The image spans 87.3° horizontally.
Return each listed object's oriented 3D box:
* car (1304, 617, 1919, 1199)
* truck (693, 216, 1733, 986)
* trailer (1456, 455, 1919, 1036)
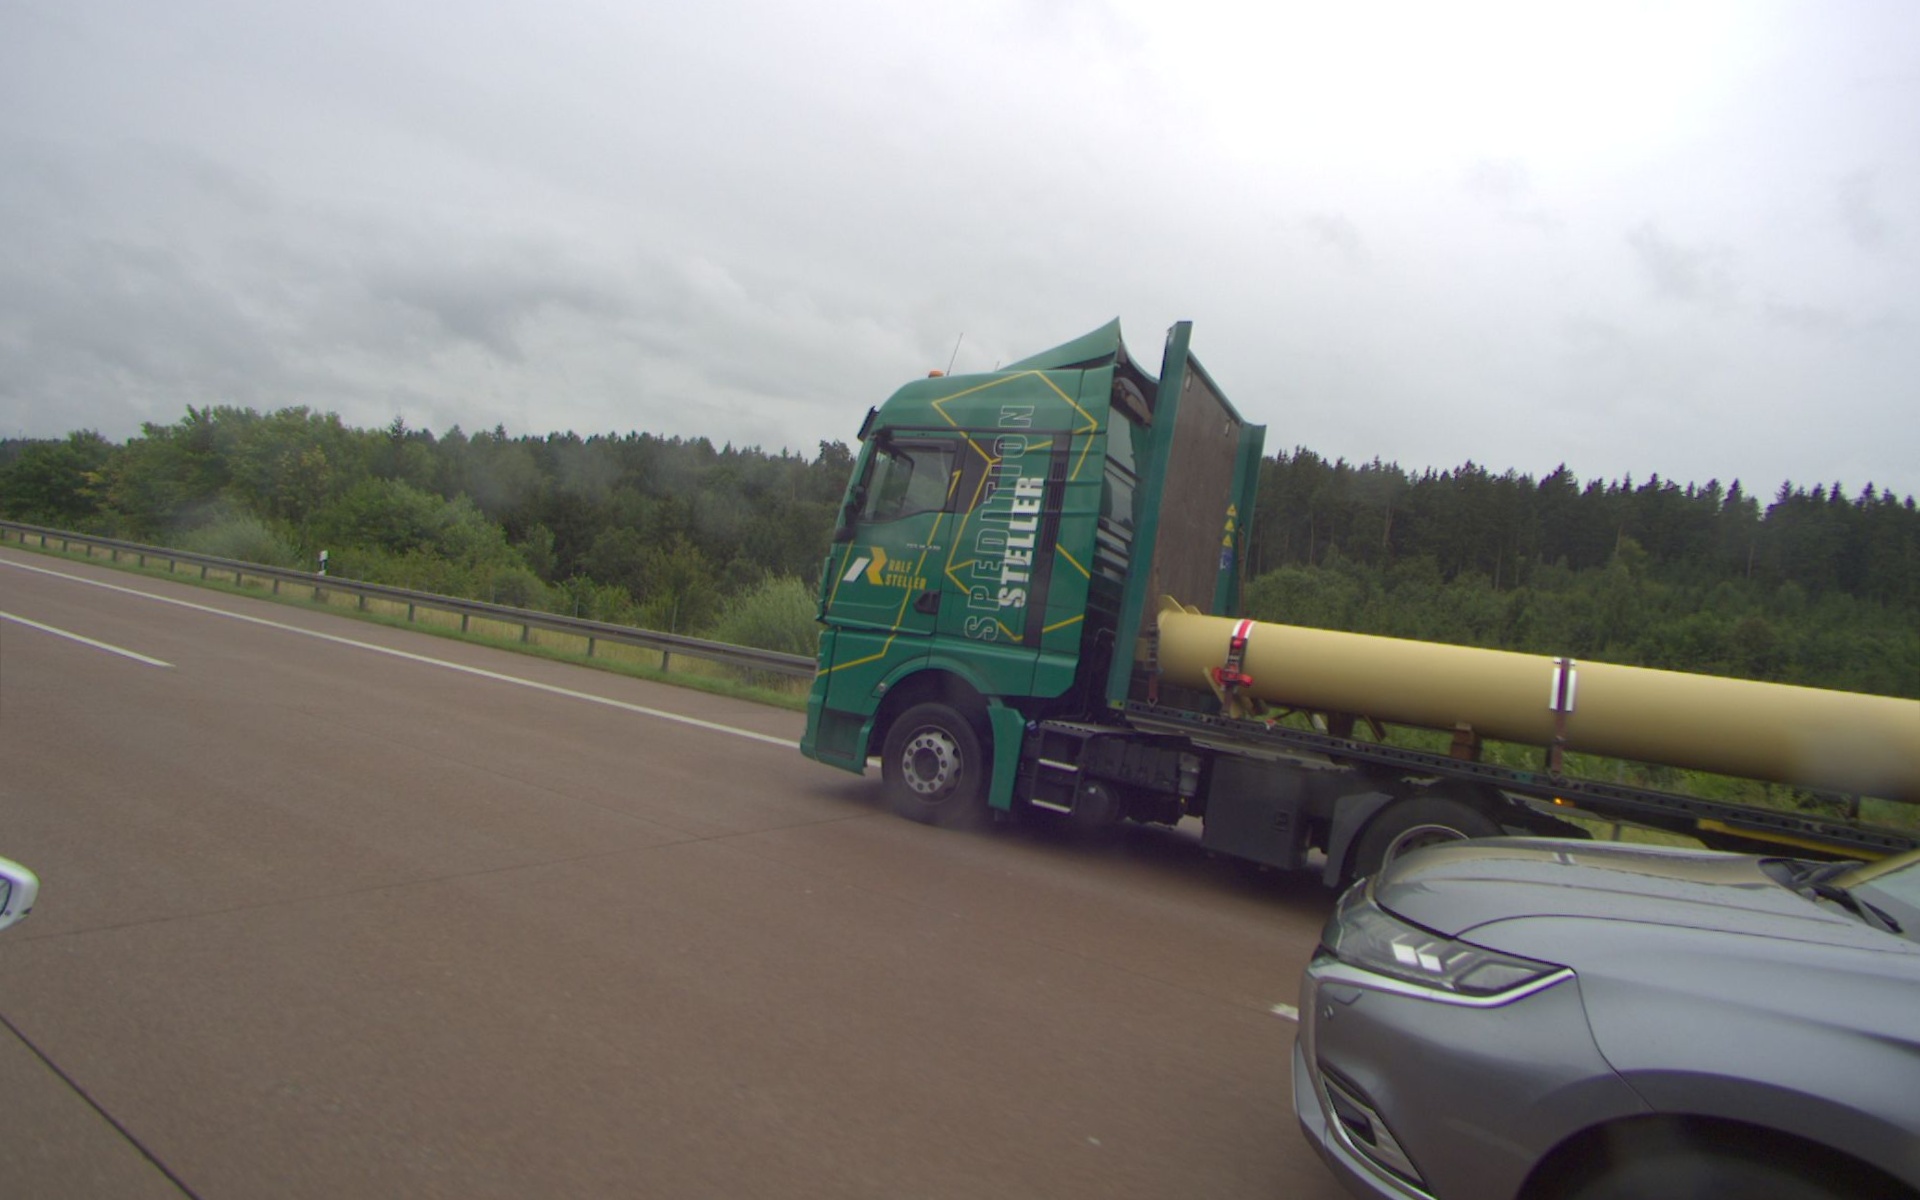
[{"bbox_3d":[3.767,1.160,1.635,5.724,1.611,1.997,5,-3,32],"label":"car"},{"bbox_3d":[1.580,-0.130,8.211,6.872,4.010,2.903,5,-2,31],"label":"truck"},{"bbox_3d":[8.435,1.105,4.045,11.208,2.706,2.888,5,-3,31],"label":"trailer"}]
